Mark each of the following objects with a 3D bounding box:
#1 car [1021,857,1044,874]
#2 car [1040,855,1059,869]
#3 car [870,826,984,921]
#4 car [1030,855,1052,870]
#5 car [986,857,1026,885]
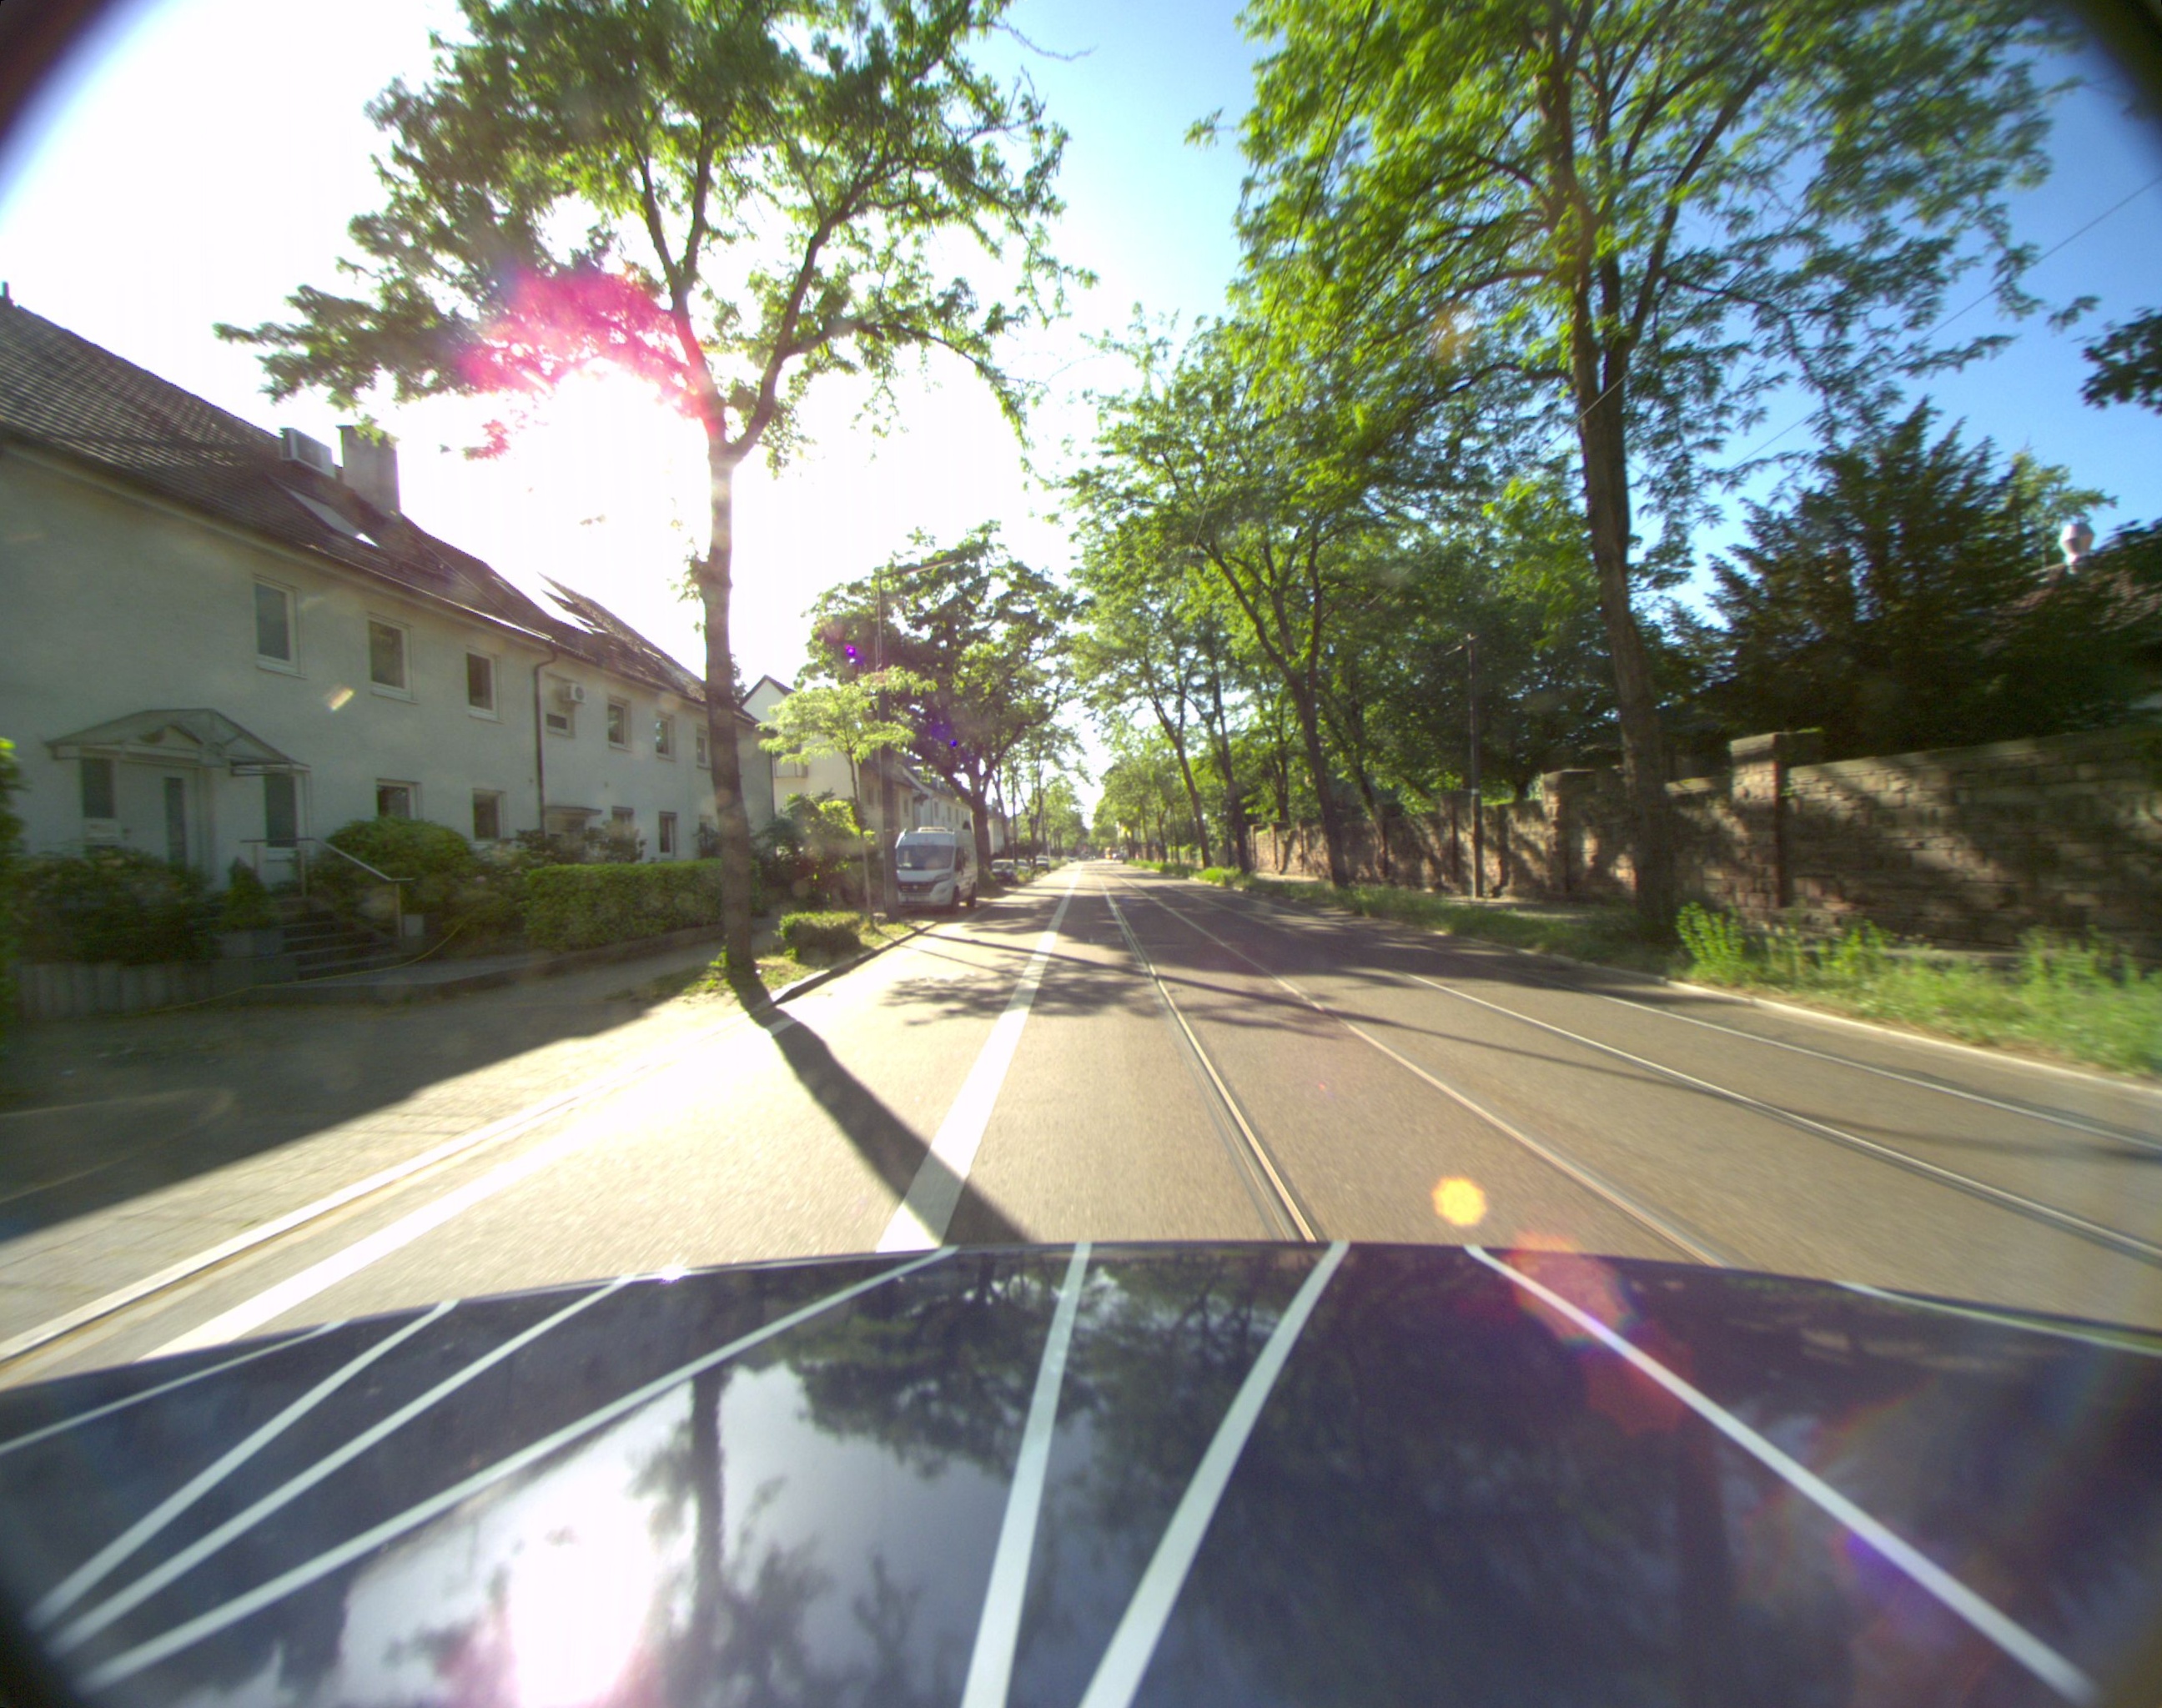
[{"bbox_3d":[-4.415,1.011,69.676,1.788,1.369,3.655,-2,1,1],"label":"car"},{"bbox_3d":[-3.712,0.985,91.052,1.998,1.411,3.998,-2,3,1],"label":"car"},{"bbox_3d":[-4.695,0.511,24.231,2.297,2.575,5.718,-2,1,1],"label":"car"},{"bbox_3d":[-4.111,0.833,79.082,1.998,1.474,4.000,-2,0,1],"label":"car"},{"bbox_3d":[-4.427,0.976,45.580,1.663,1.527,4.001,-2,0,4],"label":"car"}]
